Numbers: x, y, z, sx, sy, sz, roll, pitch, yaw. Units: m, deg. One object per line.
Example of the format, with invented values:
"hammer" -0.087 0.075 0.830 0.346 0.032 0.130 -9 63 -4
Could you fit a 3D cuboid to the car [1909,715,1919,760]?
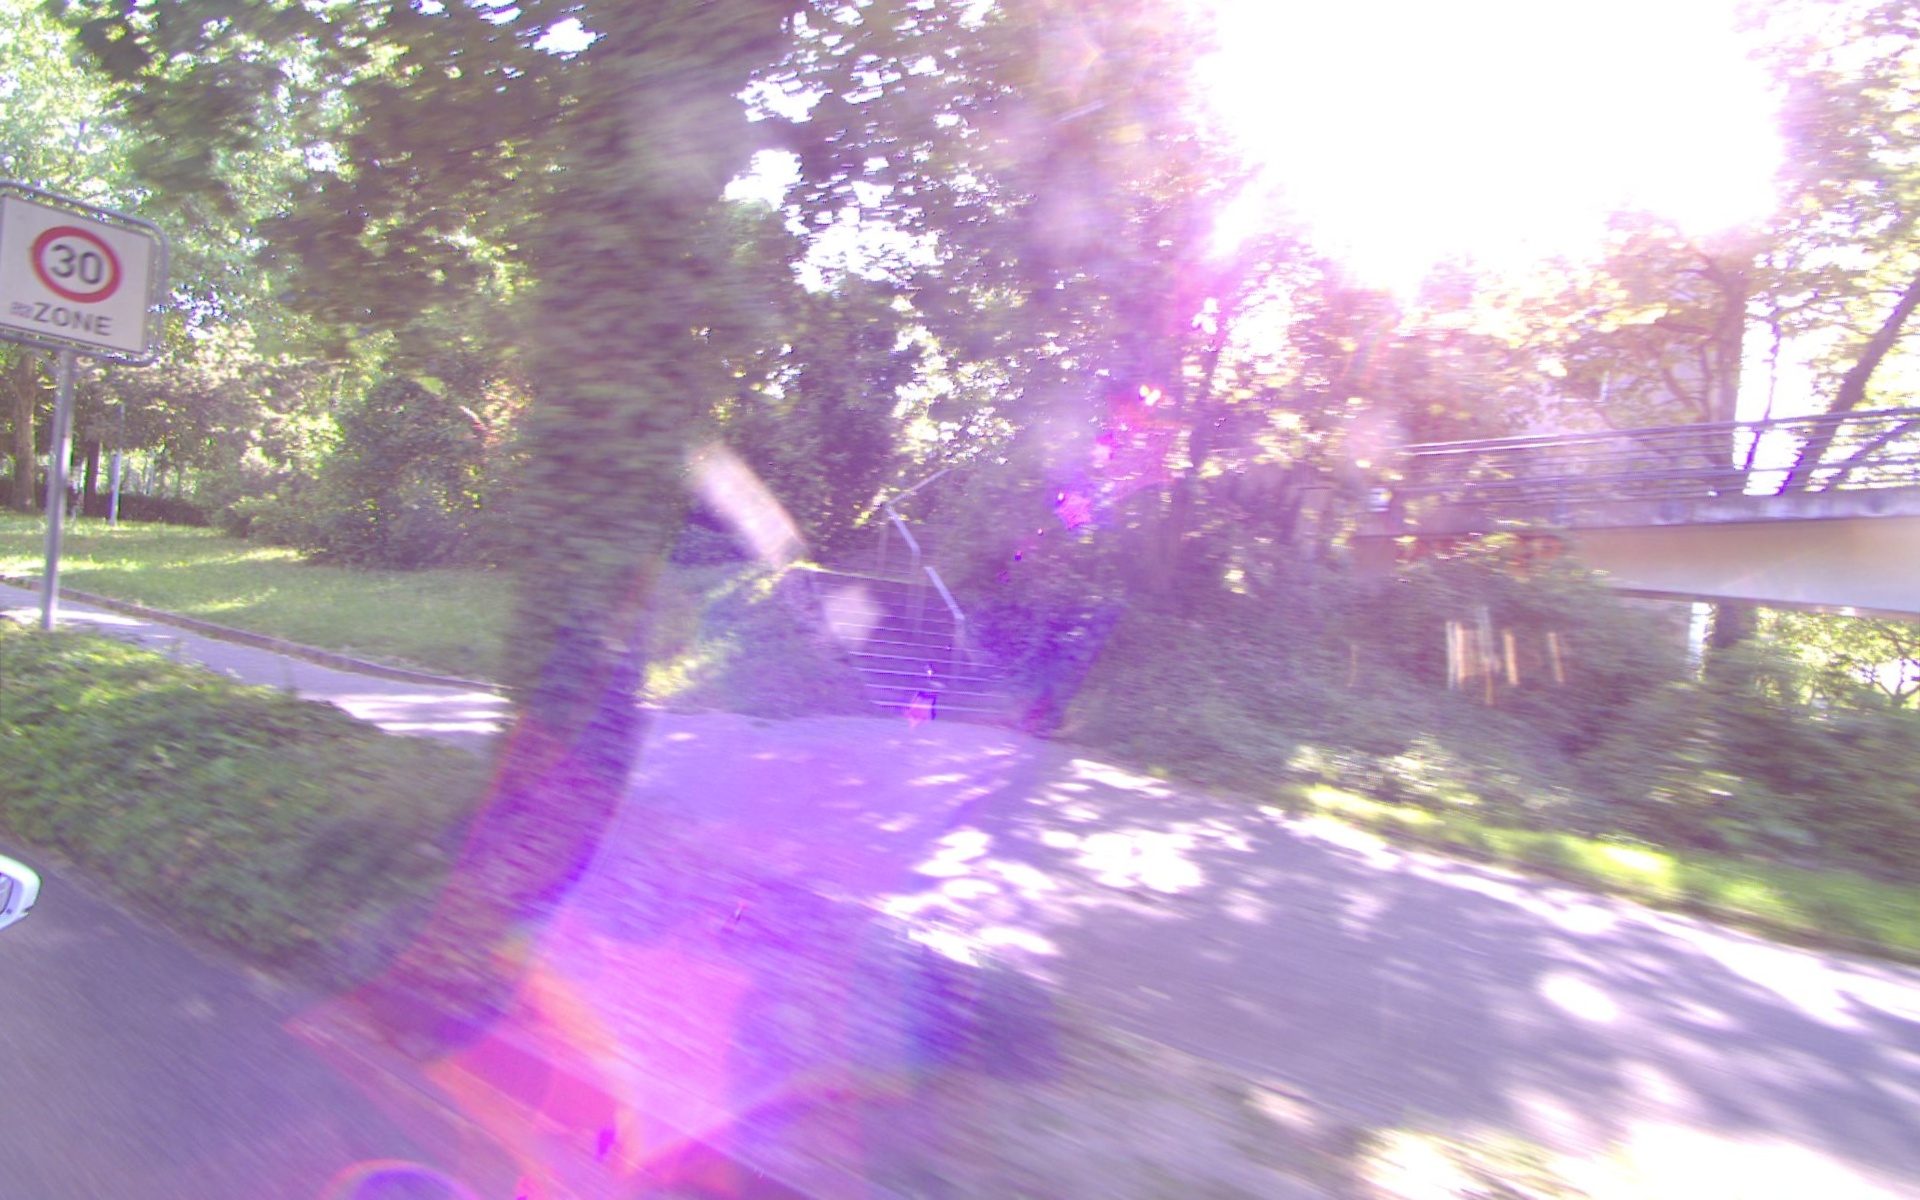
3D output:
"car" 47.333 6.839 46.722 4.510 2.078 2.015 9 1 -5
